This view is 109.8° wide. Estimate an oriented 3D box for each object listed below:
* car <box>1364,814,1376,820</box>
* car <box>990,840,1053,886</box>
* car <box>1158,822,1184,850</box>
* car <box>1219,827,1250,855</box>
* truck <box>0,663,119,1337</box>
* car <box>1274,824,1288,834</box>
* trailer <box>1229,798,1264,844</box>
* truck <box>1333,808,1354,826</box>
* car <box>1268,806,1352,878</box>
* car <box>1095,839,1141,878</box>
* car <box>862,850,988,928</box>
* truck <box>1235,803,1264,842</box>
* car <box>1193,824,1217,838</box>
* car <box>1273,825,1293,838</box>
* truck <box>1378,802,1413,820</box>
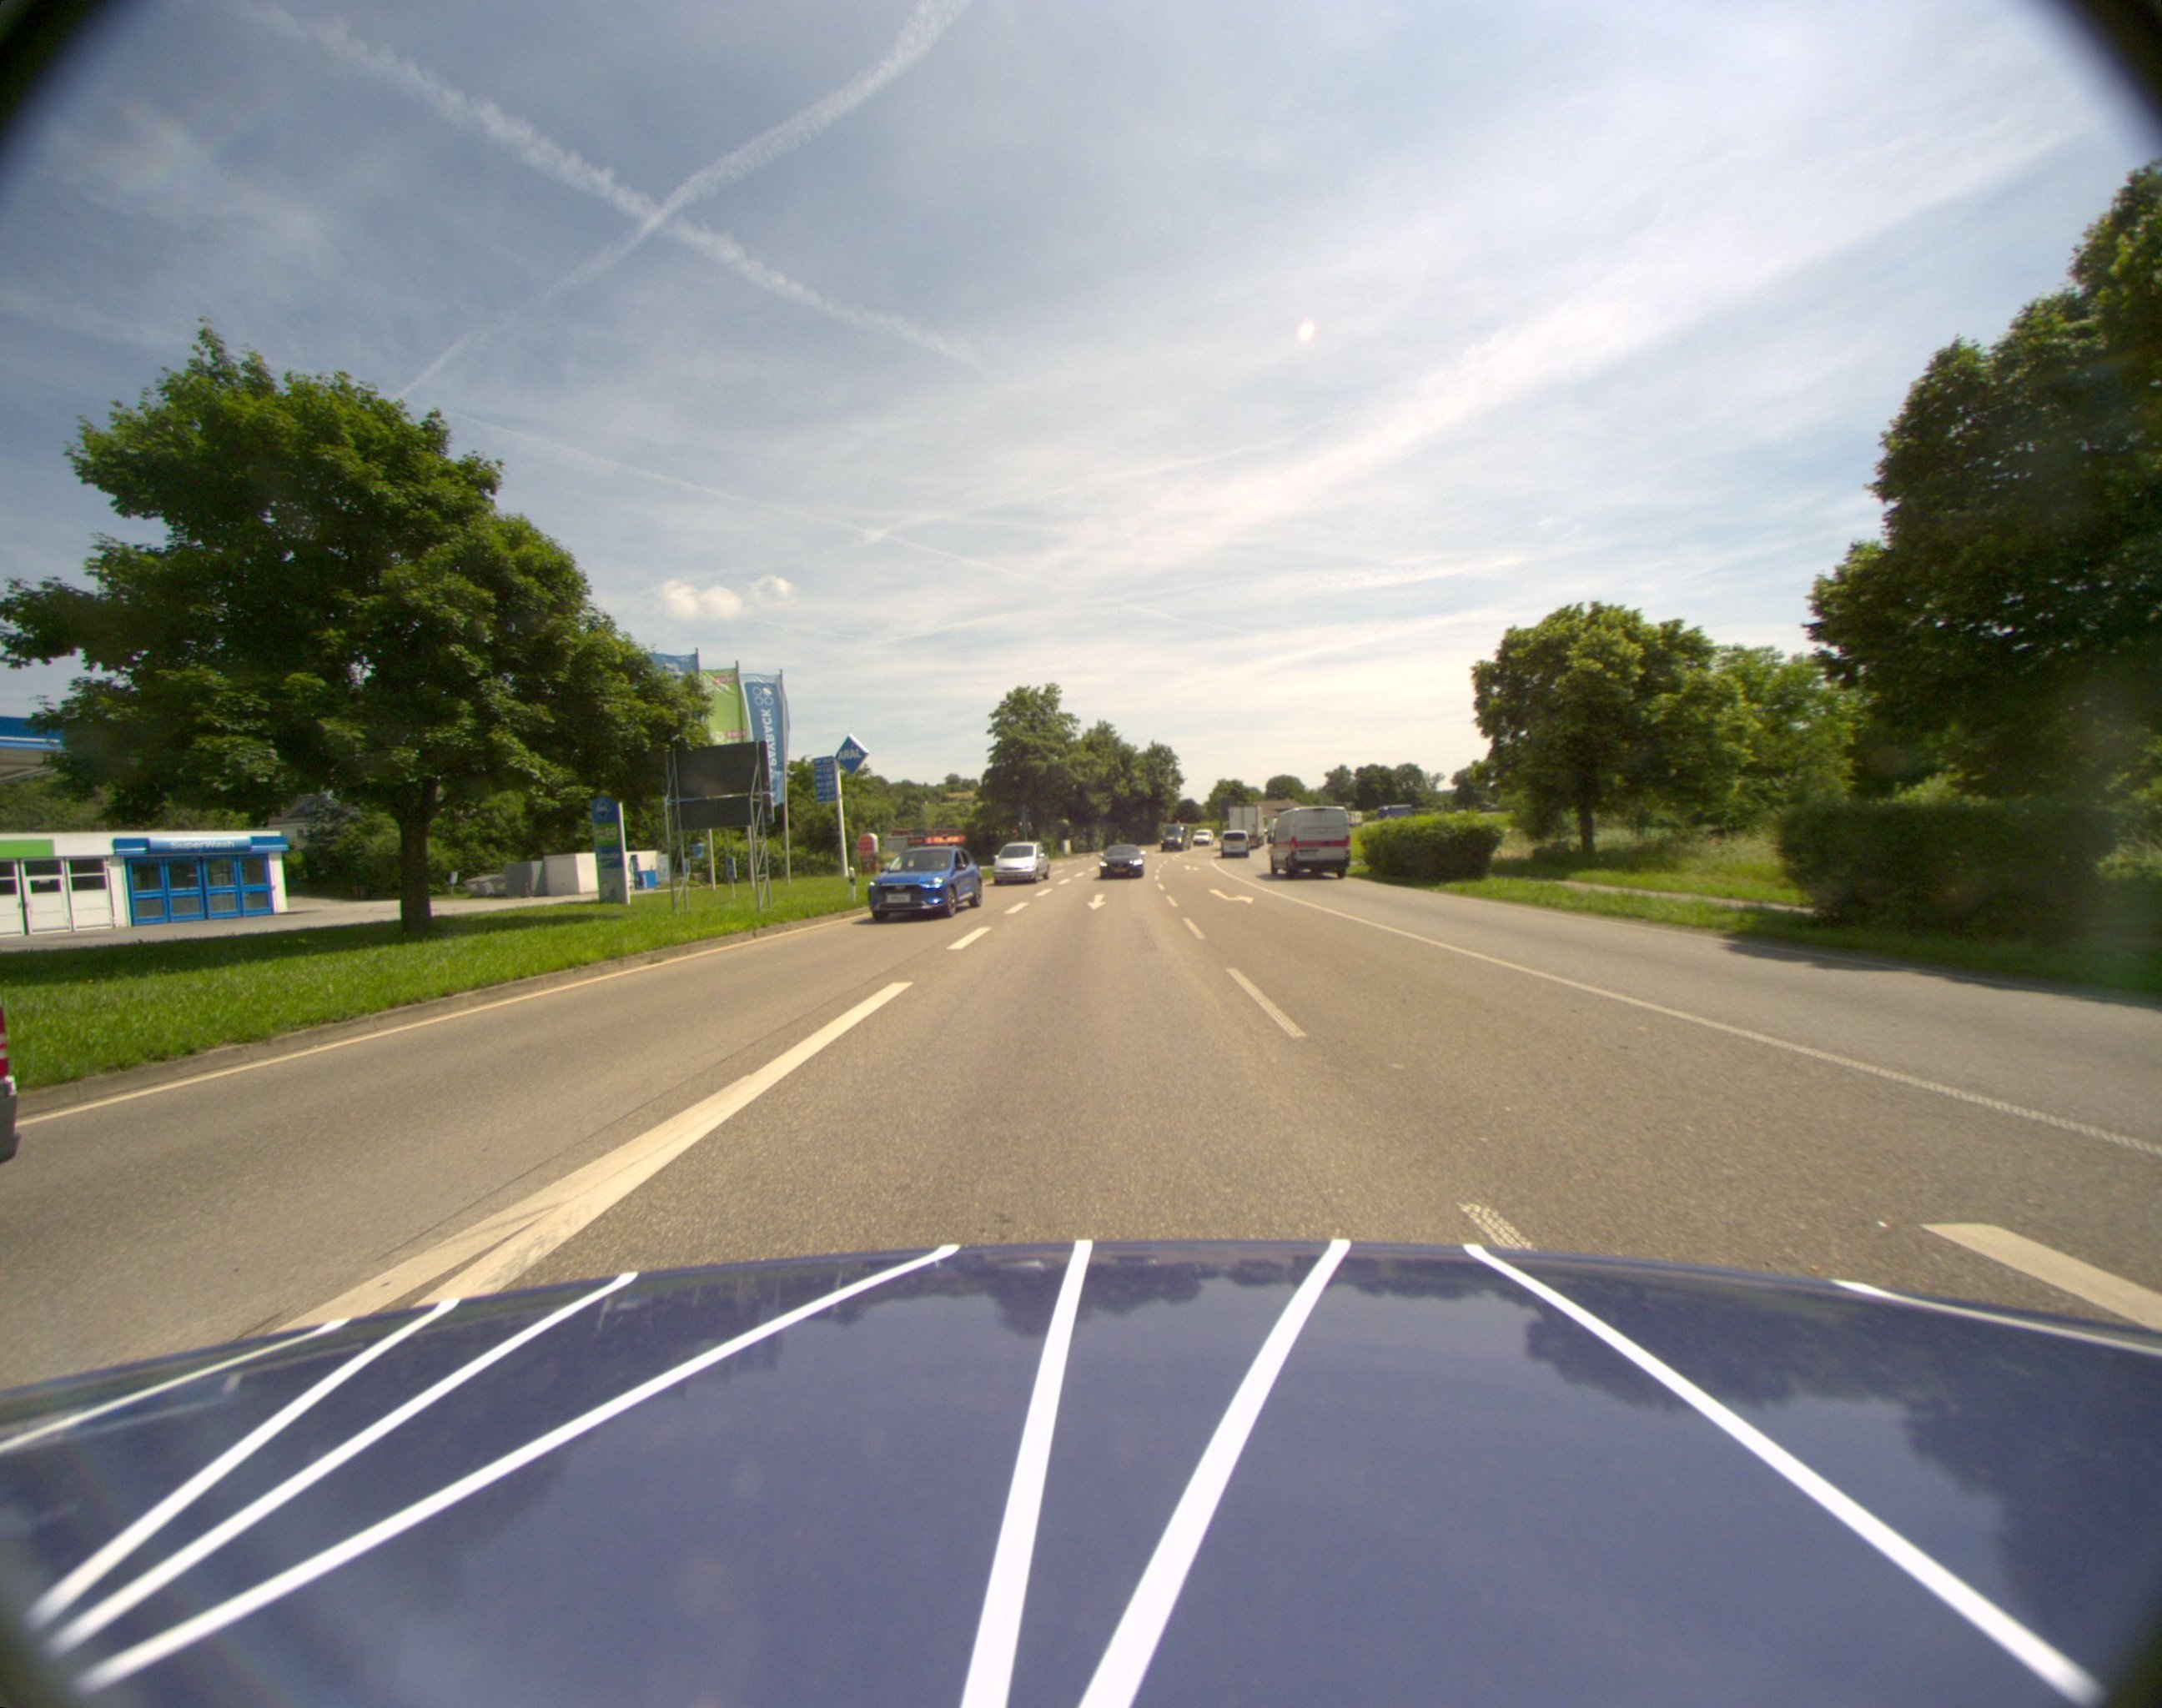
[{"bbox_3d":[76.039,-9.758,199.844,1.779,1.485,4.165,0,3,41],"label":"car"},{"bbox_3d":[-2.435,0.313,32.240,1.865,1.682,4.526,-2,2,5],"label":"car"},{"bbox_3d":[8.475,-1.700,71.185,1.979,2.505,4.159,-2,2,11],"label":"car"},{"bbox_3d":[10.725,-0.926,53.246,1.876,1.854,5.143,-2,1,9],"label":"car"},{"bbox_3d":[-6.081,0.681,0.711,2.070,2.721,5.949,-4,0,15],"label":"truck"},{"bbox_3d":[38.267,-4.814,145.554,1.806,1.722,4.006,-2,0,26],"label":"car"},{"bbox_3d":[16.009,-3.113,73.004,2.782,4.079,11.669,0,2,15],"label":"trailer"},{"bbox_3d":[55.176,-7.804,159.576,2.970,3.550,6.908,0,3,31],"label":"truck"},{"bbox_3d":[8.486,-0.457,28.642,2.055,2.438,5.270,-1,1,6],"label":"car"},{"bbox_3d":[1.613,0.153,32.901,1.783,1.484,4.157,-3,1,3],"label":"car"},{"bbox_3d":[-3.688,0.764,18.835,1.782,1.550,4.388,-3,1,5],"label":"car"},{"bbox_3d":[17.597,-3.263,79.006,2.782,3.921,5.709,0,2,14],"label":"truck"},{"bbox_3d":[14.349,-2.639,87.613,1.780,1.485,4.162,-1,2,23],"label":"car"},{"bbox_3d":[28.038,-3.126,105.337,1.617,1.550,4.006,-1,3,30],"label":"car"},{"bbox_3d":[84.918,-11.648,205.059,2.738,4.584,16.187,0,4,45],"label":"truck"}]
